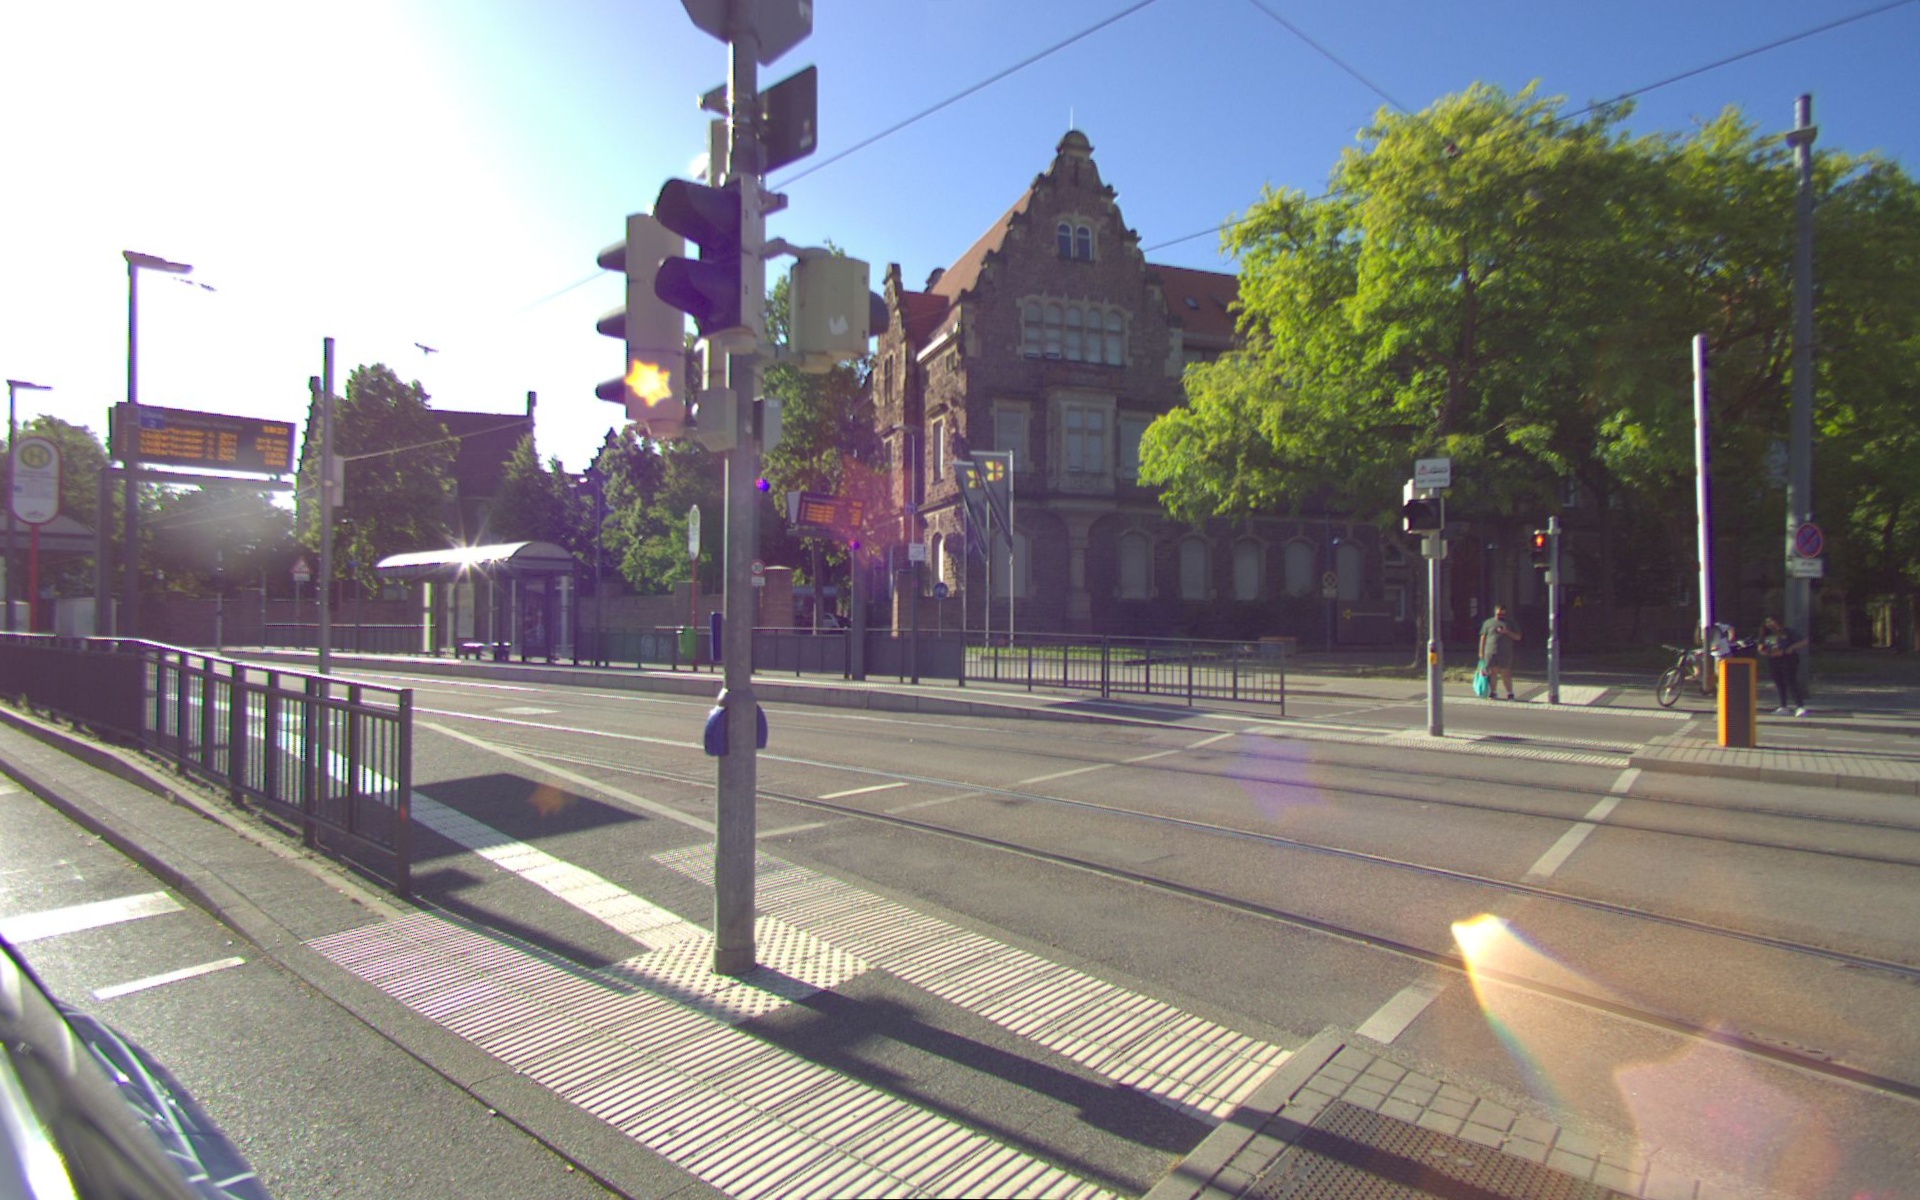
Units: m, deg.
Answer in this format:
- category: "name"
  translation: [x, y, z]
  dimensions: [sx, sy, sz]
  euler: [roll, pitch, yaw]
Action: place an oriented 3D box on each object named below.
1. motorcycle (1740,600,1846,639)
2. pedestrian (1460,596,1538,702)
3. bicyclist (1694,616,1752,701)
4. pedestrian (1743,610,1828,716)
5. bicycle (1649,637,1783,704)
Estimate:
- category: "motorcycle"
  translation: [40.788, 0.932, 49.620]
  dimensions: [3.744, 1.841, 1.301]
  euler: [0, 0, 19]
- category: "pedestrian"
  translation: [9.844, 0.867, 18.496]
  dimensions: [1.096, 1.875, 0.719]
  euler: [-1, 0, 43]
- category: "bicyclist"
  translation: [12.875, 0.974, 17.089]
  dimensions: [0.529, 1.394, 0.688]
  euler: [0, 0, 14]
- category: "pedestrian"
  translation: [12.851, 0.956, 15.765]
  dimensions: [0.565, 1.581, 0.834]
  euler: [-1, -1, -29]
- category: "bicycle"
  translation: [12.759, 1.177, 17.119]
  dimensions: [1.653, 1.057, 0.690]
  euler: [0, 0, 15]
